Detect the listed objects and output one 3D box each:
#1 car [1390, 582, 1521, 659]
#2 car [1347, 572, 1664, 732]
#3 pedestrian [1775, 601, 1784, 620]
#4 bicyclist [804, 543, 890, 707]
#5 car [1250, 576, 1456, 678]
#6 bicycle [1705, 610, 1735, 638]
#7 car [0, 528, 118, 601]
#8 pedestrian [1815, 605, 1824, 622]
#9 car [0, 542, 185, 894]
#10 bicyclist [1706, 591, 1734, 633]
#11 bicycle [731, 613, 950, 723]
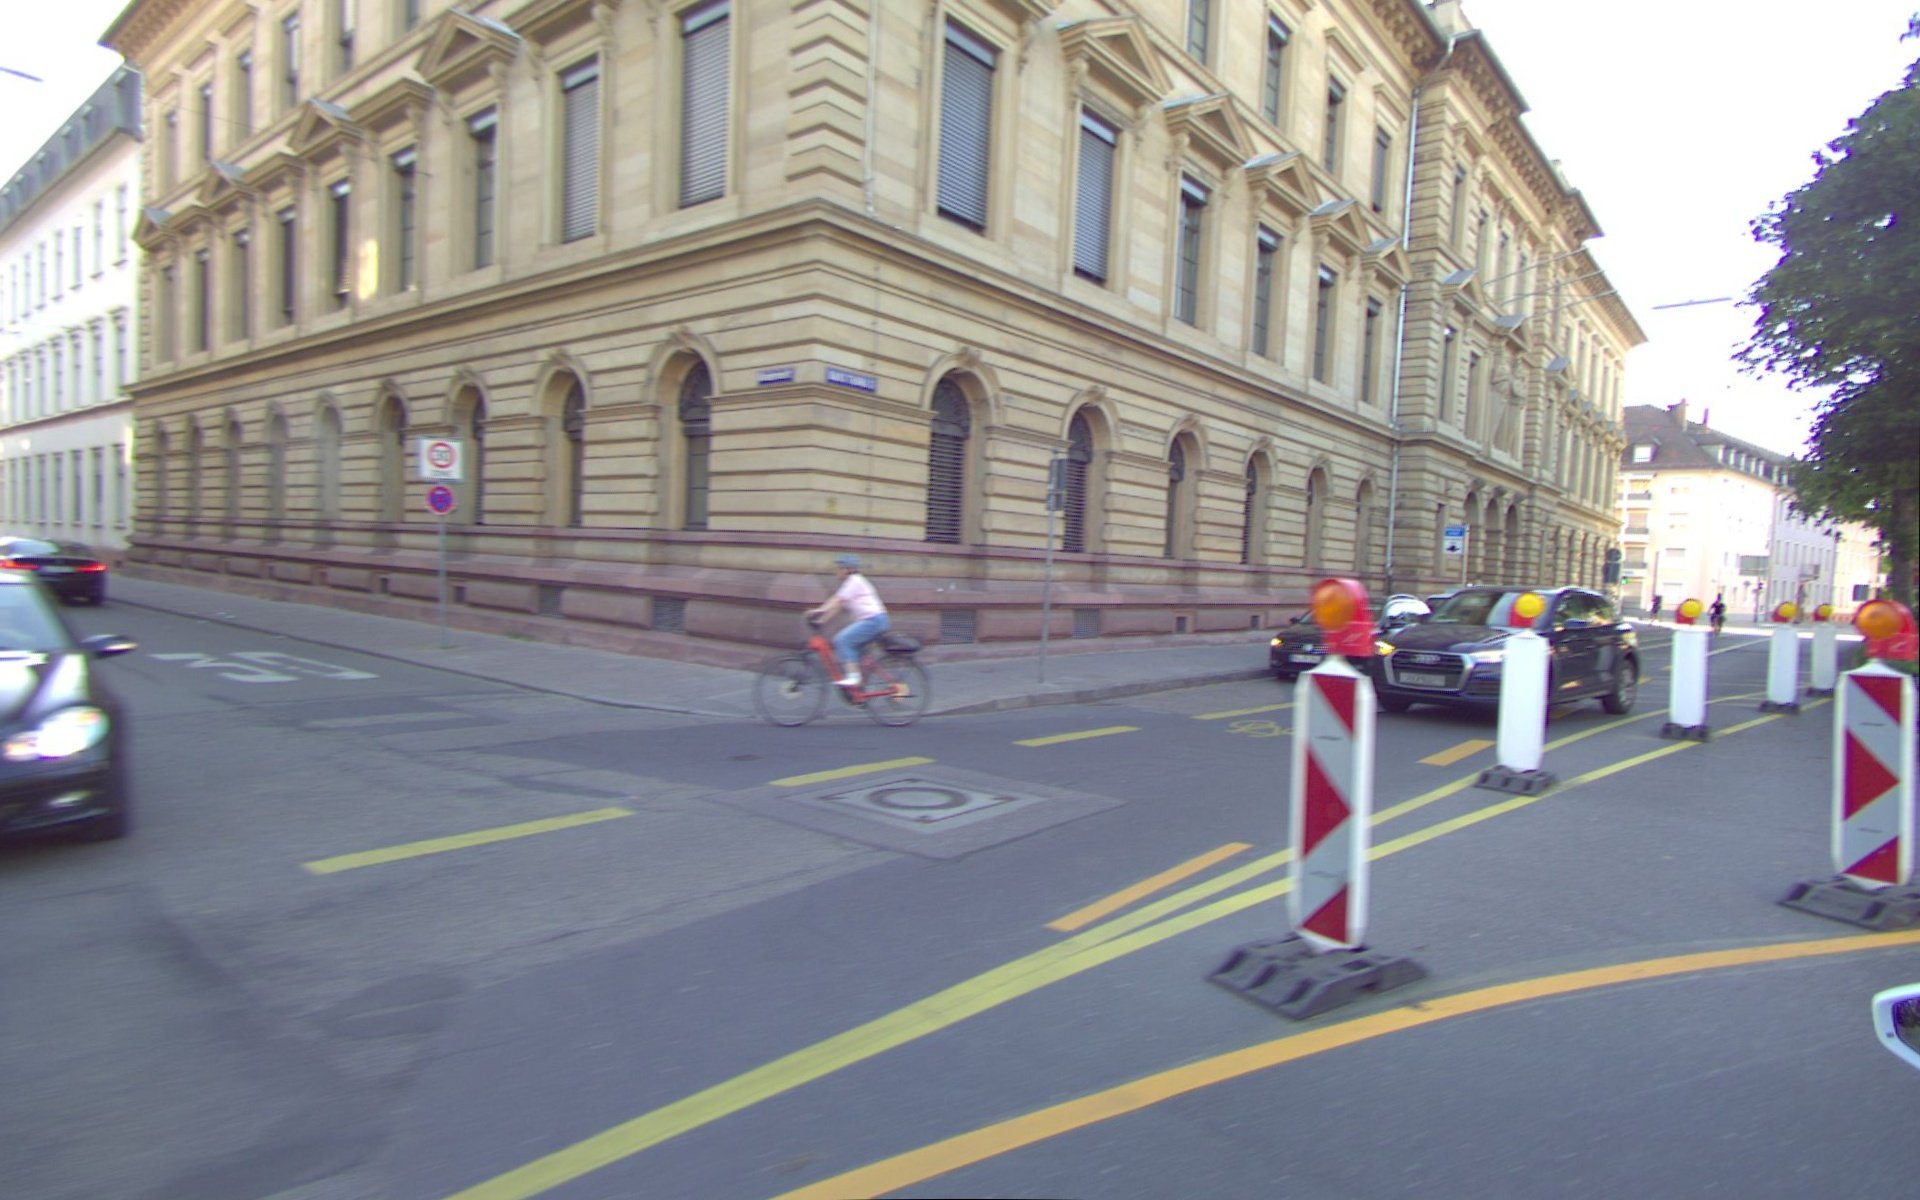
[{"bbox_3d":[11.317,0.423,22.845,1.649,1.528,3.826,5,3,41],"label":"car"},{"bbox_3d":[7.124,0.560,12.931,4.613,1.693,1.862,1,2,-38],"label":"car"},{"bbox_3d":[72.204,0.922,88.500,0.469,1.680,0.476,0,3,-42],"label":"pedestrian"},{"bbox_3d":[-1.157,0.240,10.211,0.750,1.599,0.642,2,2,-13],"label":"bicyclist"},{"bbox_3d":[7.038,0.394,17.713,1.858,1.528,4.618,3,2,42],"label":"car"},{"bbox_3d":[34.212,1.049,45.201,0.871,1.210,2.163,1,0,42],"label":"bicycle"},{"bbox_3d":[-20.677,-0.832,22.530,4.257,1.461,1.991,4,3,39],"label":"car"},{"bbox_3d":[83.195,1.297,97.220,0.469,1.680,0.476,0,3,-42],"label":"pedestrian"},{"bbox_3d":[-5.721,0.383,5.574,1.755,1.340,4.712,0,3,-44],"label":"car"},{"bbox_3d":[34.133,0.536,45.110,0.871,1.859,1.279,1,1,42],"label":"bicyclist"},{"bbox_3d":[-1.204,0.677,10.074,2.090,1.005,0.637,2,2,-14],"label":"bicycle"}]
